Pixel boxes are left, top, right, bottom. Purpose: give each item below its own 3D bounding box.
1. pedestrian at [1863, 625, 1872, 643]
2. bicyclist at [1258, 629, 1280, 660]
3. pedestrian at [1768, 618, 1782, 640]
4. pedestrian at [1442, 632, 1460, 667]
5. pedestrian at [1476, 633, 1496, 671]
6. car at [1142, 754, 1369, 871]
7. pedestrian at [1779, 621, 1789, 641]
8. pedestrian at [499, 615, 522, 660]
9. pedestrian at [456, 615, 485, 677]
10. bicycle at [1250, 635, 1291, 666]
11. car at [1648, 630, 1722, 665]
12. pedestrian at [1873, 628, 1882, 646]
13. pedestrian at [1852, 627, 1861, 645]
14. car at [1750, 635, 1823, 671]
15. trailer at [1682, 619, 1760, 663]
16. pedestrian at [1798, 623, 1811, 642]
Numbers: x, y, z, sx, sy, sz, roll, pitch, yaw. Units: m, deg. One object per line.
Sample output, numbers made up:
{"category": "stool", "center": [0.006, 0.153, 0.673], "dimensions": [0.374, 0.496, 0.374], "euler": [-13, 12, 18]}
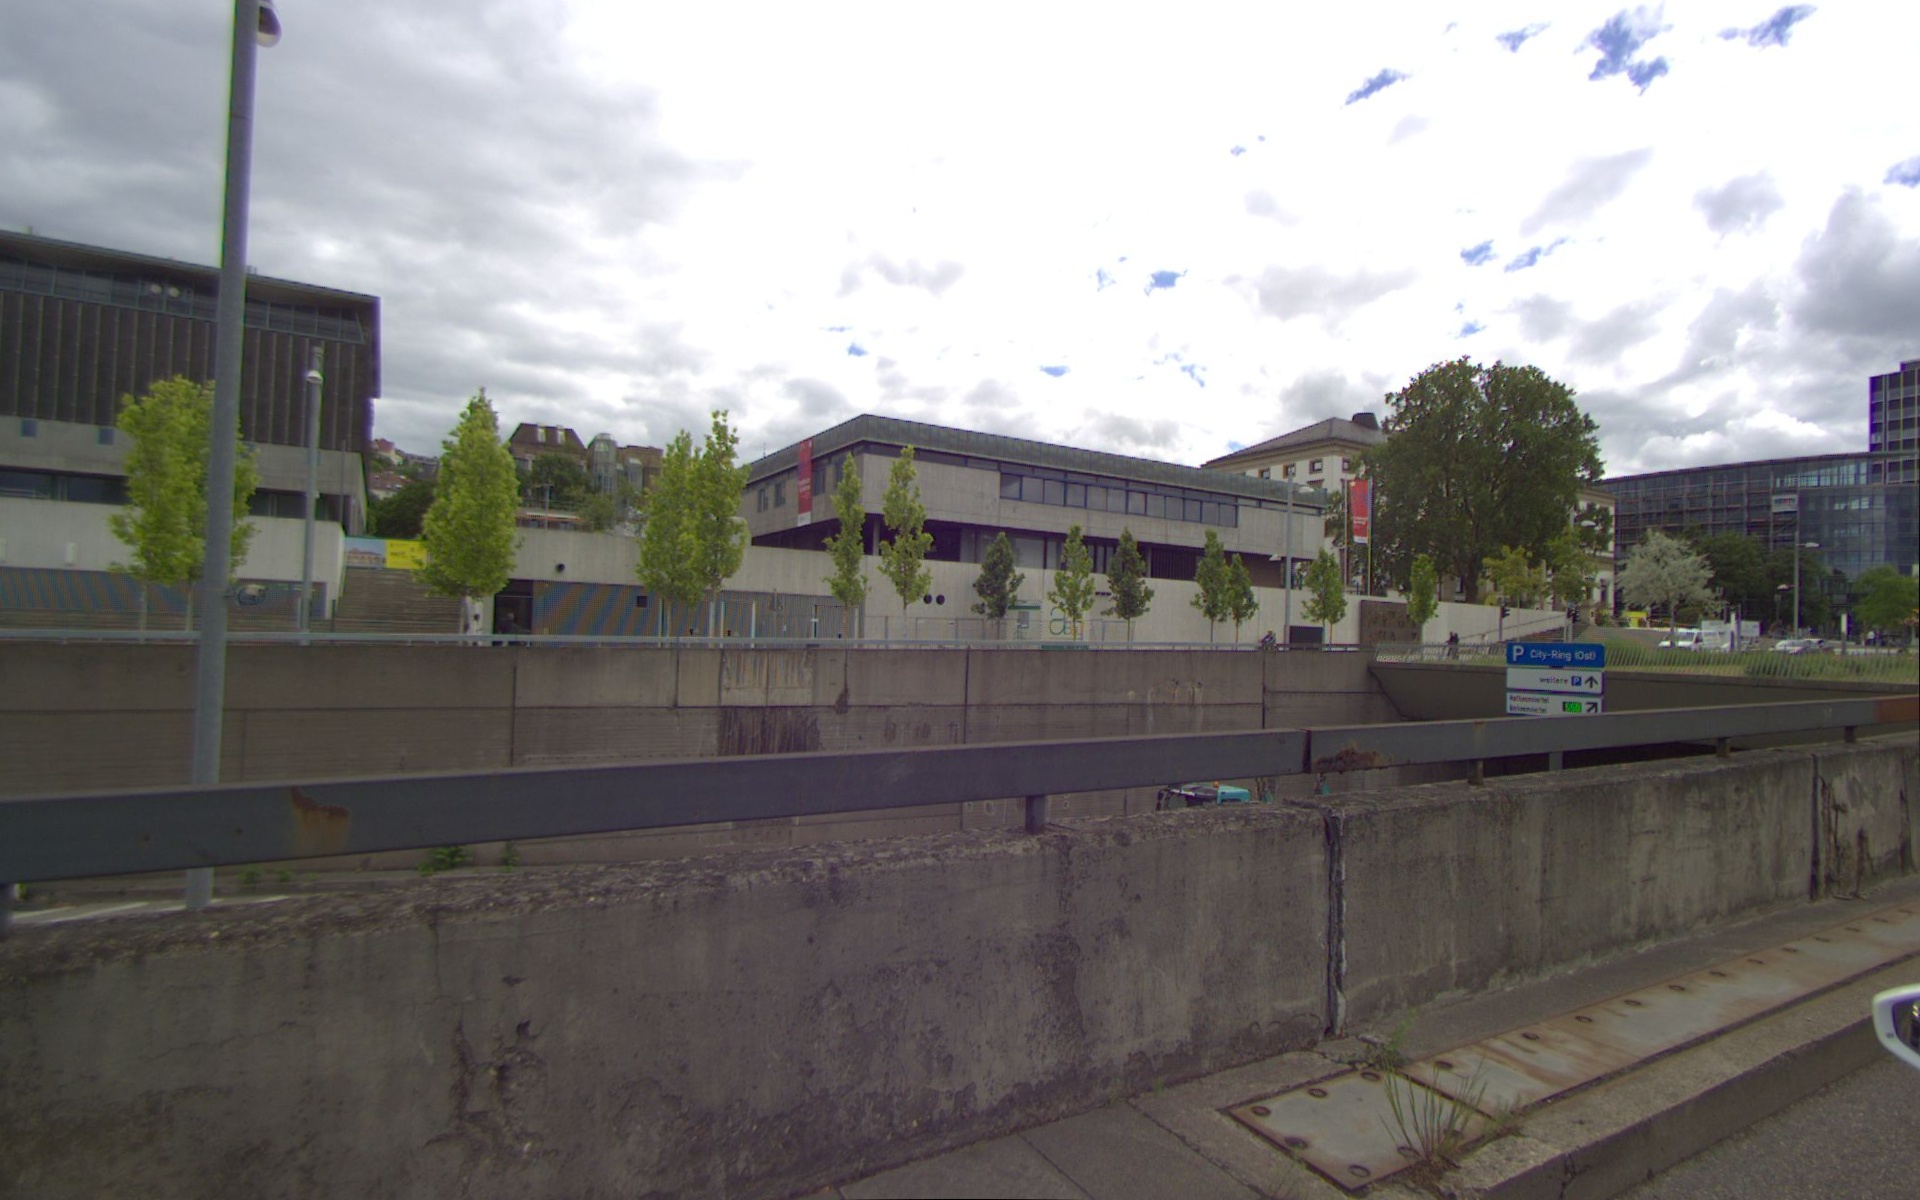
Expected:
{"category": "pedestrian", "center": [103.469, 3.875, 114.543], "dimensions": [0.731, 2.040, 0.788], "euler": [-1, -1, 45]}
{"category": "bicyclist", "center": [16.324, 2.326, 53.066], "dimensions": [0.767, 1.574, 0.727], "euler": [3, 0, -31]}
{"category": "pedestrian", "center": [75.513, 2.701, 93.084], "dimensions": [0.783, 2.040, 0.735], "euler": [4, -2, -28]}
{"category": "pedestrian", "center": [28.665, 2.872, 58.662], "dimensions": [0.777, 2.040, 0.741], "euler": [0, 0, 10]}
{"category": "pedestrian", "center": [28.520, 2.825, 54.439], "dimensions": [0.846, 2.040, 0.629], "euler": [0, -1, 20]}
{"category": "car", "center": [8.165, 5.681, 27.616], "dimensions": [5.866, 2.341, 2.607], "euler": [3, 0, -30]}
{"category": "pedestrian", "center": [85.621, 3.256, 104.385], "dimensions": [0.729, 2.040, 0.917], "euler": [-1, -1, 37]}
{"category": "pedestrian", "center": [-16.849, 1.379, 37.647], "dimensions": [0.783, 1.664, 0.736], "euler": [0, -1, -27]}
{"category": "pedestrian", "center": [-16.389, 1.539, 33.667], "dimensions": [0.780, 2.040, 0.738], "euler": [0, -1, -18]}
{"category": "bicycle", "center": [16.444, 2.683, 53.175], "dimensions": [2.165, 1.556, 0.722], "euler": [3, 0, -31]}
{"category": "car", "center": [44.641, 2.883, 61.831], "dimensions": [4.635, 2.040, 1.985], "euler": [0, 0, -30]}
{"category": "pedestrian", "center": [104.038, 4.184, 113.889], "dimensions": [0.731, 2.040, 0.788], "euler": [-1, -1, 45]}
{"category": "pedestrian", "center": [102.175, 4.141, 114.457], "dimensions": [0.729, 2.040, 0.790], "euler": [-1, -1, 38]}
{"category": "car", "center": [51.407, 3.241, 62.435], "dimensions": [4.635, 2.040, 1.985], "euler": [0, 0, -30]}
{"category": "trailer", "center": [48.918, 2.618, 64.560], "dimensions": [5.443, 2.640, 2.028], "euler": [1, 1, -30]}
{"category": "pedestrian", "center": [88.503, 3.415, 105.254], "dimensions": [0.729, 2.040, 0.789], "euler": [0, -1, -19]}
